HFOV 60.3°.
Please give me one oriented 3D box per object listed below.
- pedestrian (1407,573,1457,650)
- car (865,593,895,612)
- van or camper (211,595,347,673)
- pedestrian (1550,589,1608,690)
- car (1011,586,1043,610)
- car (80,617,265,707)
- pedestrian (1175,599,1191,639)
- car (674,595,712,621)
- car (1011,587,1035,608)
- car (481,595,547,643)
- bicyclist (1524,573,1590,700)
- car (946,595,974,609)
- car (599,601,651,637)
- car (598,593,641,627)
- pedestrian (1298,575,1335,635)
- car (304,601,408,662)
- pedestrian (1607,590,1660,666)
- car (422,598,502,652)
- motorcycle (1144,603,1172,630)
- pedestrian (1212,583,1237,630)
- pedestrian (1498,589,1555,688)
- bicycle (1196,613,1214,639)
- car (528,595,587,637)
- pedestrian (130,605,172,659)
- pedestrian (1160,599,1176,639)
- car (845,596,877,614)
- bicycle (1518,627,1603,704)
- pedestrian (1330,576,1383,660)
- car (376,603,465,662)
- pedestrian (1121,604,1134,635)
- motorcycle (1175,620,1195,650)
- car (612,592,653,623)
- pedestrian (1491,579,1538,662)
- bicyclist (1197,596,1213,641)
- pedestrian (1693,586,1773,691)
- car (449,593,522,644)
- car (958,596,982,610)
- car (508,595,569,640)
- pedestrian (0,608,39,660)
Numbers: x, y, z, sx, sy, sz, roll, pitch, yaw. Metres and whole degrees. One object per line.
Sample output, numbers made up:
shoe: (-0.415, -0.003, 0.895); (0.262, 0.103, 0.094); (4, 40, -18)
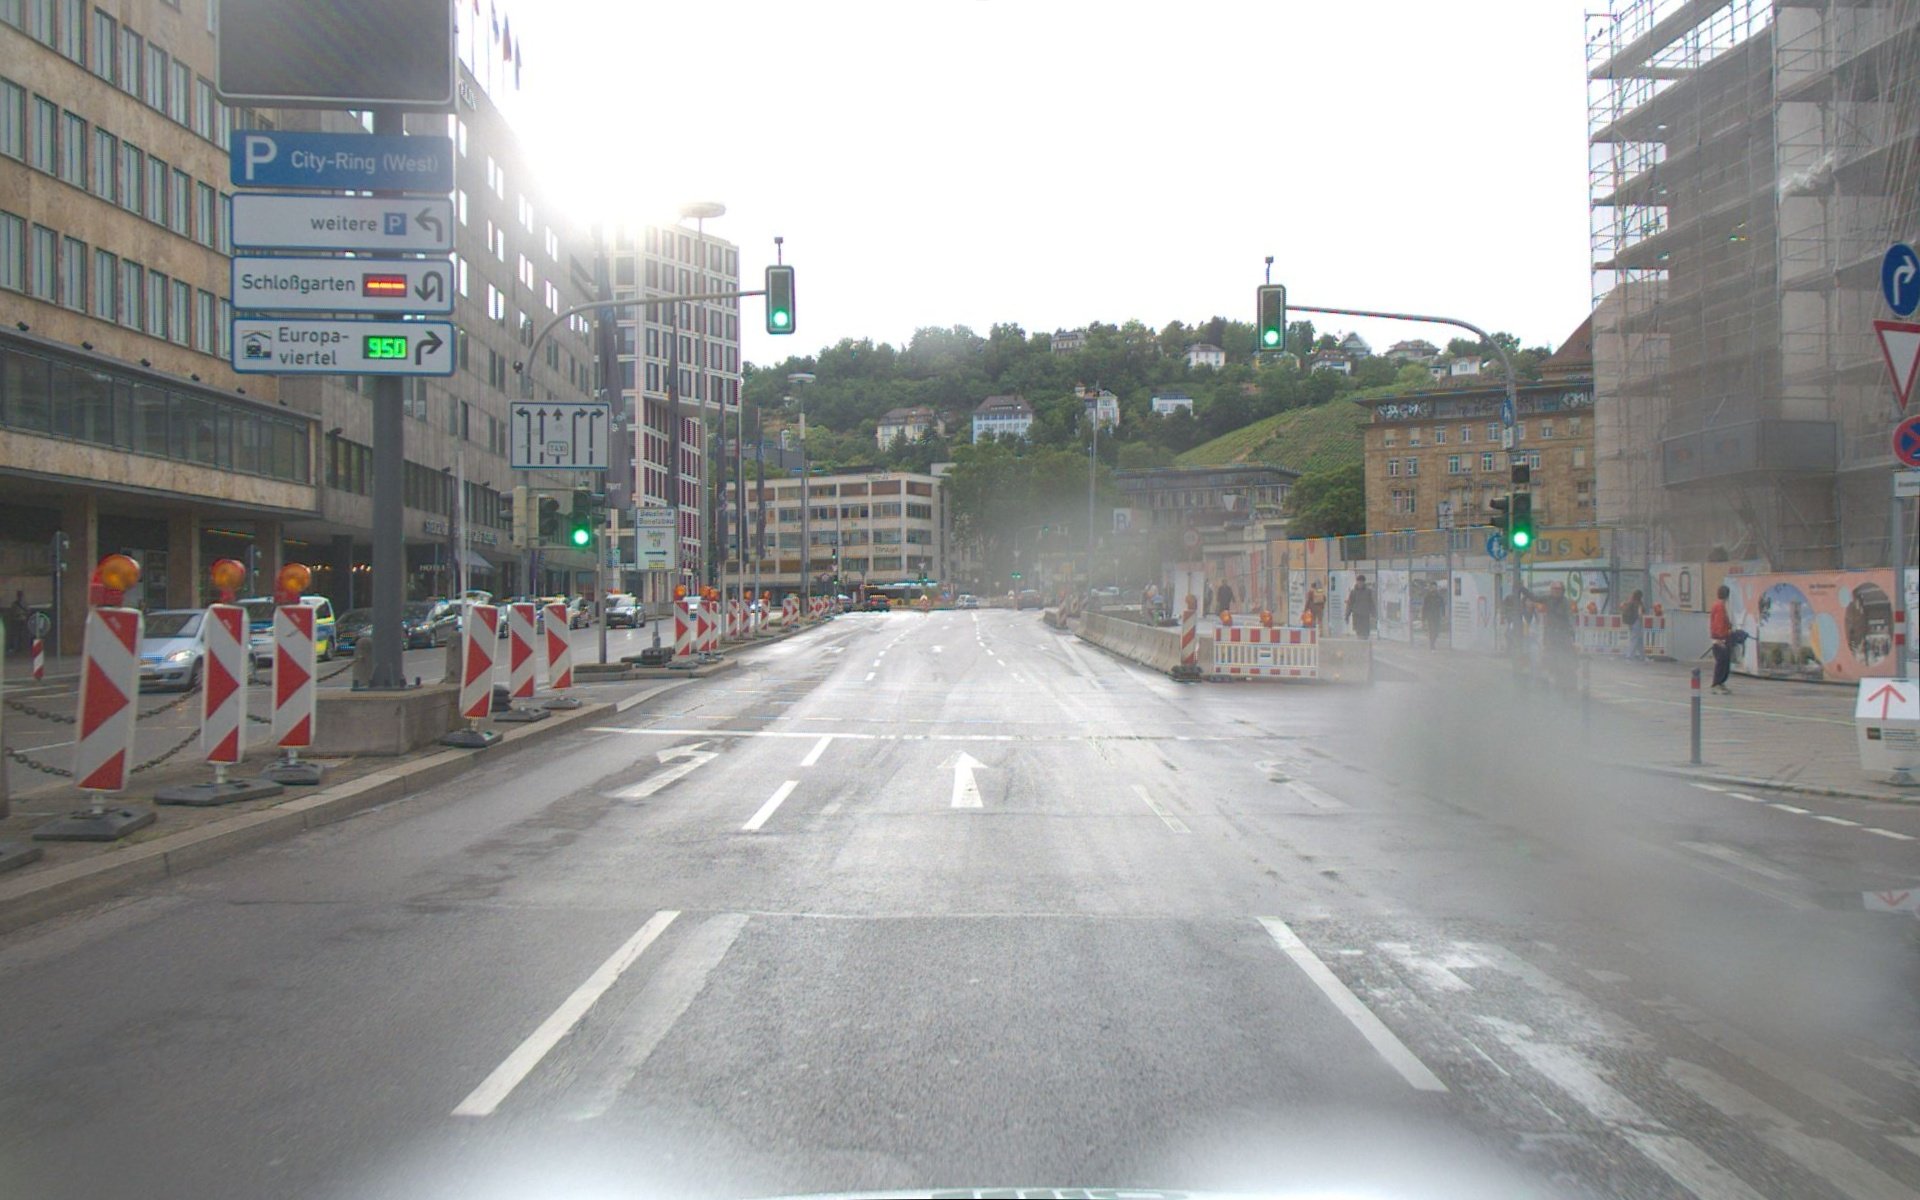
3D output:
pedestrian: (11.655, 0.293, 40.861); (0.851, 1.873, 0.944); (-1, -1, 41)
car: (-7.064, 0.237, 145.509); (1.959, 1.579, 3.987); (-1, -1, -13)
van or camper: (-19.239, 0.937, 46.955); (1.953, 2.049, 4.963); (-1, -1, -2)
pedestrian: (10.216, 0.646, 27.283); (0.779, 1.636, 0.835); (-1, -1, 27)
car: (4.866, -0.131, 120.313); (1.954, 1.736, 3.997); (-1, -1, -3)
car: (-15.414, 1.170, 32.639); (1.732, 1.637, 4.224); (-1, -1, -2)
pedestrian: (10.508, 0.909, 78.055); (0.674, 1.873, 0.614); (-1, -1, 3)
car: (-17.954, 0.555, 111.193); (1.953, 1.646, 3.999); (-1, -1, -1)
car: (5.124, -0.200, 134.734); (1.740, 1.668, 3.999); (-1, 0, -1)
car: (-19.921, 0.837, 74.004); (1.953, 2.049, 3.999); (-1, -1, -1)
bicyclist: (9.022, 0.541, 25.026); (0.688, 1.877, 0.968); (0, -1, 3)
car: (-0.004, 0.241, 191.789); (1.963, 1.467, 3.978); (1, 0, -19)
car: (-17.316, 0.970, 85.672); (1.953, 1.780, 3.999); (-1, -1, -1)
car: (-21.488, 0.647, 104.442); (1.953, 2.049, 3.999); (-1, -1, -1)
pedestrian: (11.264, 0.151, 52.285); (0.928, 1.873, 0.866); (-1, -1, -5)
car: (-19.454, 0.997, 53.454); (1.953, 1.870, 3.999); (-1, -1, -1)
pedestrian: (15.299, 0.627, 37.581); (0.847, 1.690, 0.797); (-1, -1, 1)
car: (-19.669, 0.980, 65.473); (1.953, 2.049, 4.162); (-1, -1, -1)
motorcycle: (5.286, 0.432, 44.107); (0.394, 0.694, 0.917); (1, 0, -17)
pedestrian: (10.671, 0.269, 66.726); (0.926, 1.873, 0.868); (-1, -1, 4)
pedestrian: (9.491, 0.638, 27.697); (0.779, 1.636, 0.835); (-1, -1, 27)
bicycle: (11.205, 1.190, 75.552); (0.631, 1.157, 1.764); (-1, -1, 3)
car: (-20.475, 0.815, 84.282); (1.953, 2.049, 4.415); (-1, -1, -1)
pedestrian: (-23.613, 0.924, 48.286); (0.778, 1.553, 0.916); (-1, -1, 0)
pedestrian: (9.805, 0.898, 78.097); (0.674, 1.873, 0.614); (-1, -1, 3)
car: (-10.354, 0.536, 172.964); (1.758, 1.668, 3.959); (-4, 0, -30)
bicycle: (9.026, 0.960, 24.914); (0.692, 1.068, 1.807); (1, 0, 2)
pedestrian: (9.044, 0.410, 37.702); (0.928, 1.873, 0.945); (-1, -1, 28)
car: (-19.403, 1.145, 59.623); (1.953, 2.049, 3.999); (-1, -1, -1)
pedestrian: (10.152, 1.162, 100.247); (0.674, 1.873, 0.614); (-1, -1, 3)
motorcycle: (5.755, 0.891, 42.362); (0.363, 0.735, 0.922); (1, 0, 0)
car: (-21.738, 0.490, 109.905); (1.953, 2.049, 3.999); (-1, 0, -2)
pedestrian: (12.750, 0.479, 38.054); (0.846, 1.873, 0.798); (-1, -1, 8)
bicyclist: (11.202, 0.844, 75.551); (0.628, 2.049, 0.656); (-1, -1, 2)
pedestrian: (12.326, 0.599, 26.397); (0.755, 1.636, 0.859); (0, -1, -16)
car: (-19.783, 0.786, 69.097); (1.953, 2.049, 3.999); (-1, -1, -1)
car: (1.054, 0.299, 177.918); (1.787, 1.467, 3.989); (1, 0, -12)
car: (-20.218, 0.841, 79.459); (1.953, 2.049, 3.999); (-1, -1, -1)
pedestrian: (-28.129, 1.010, 49.442); (0.778, 1.553, 0.716); (-1, -1, 0)
